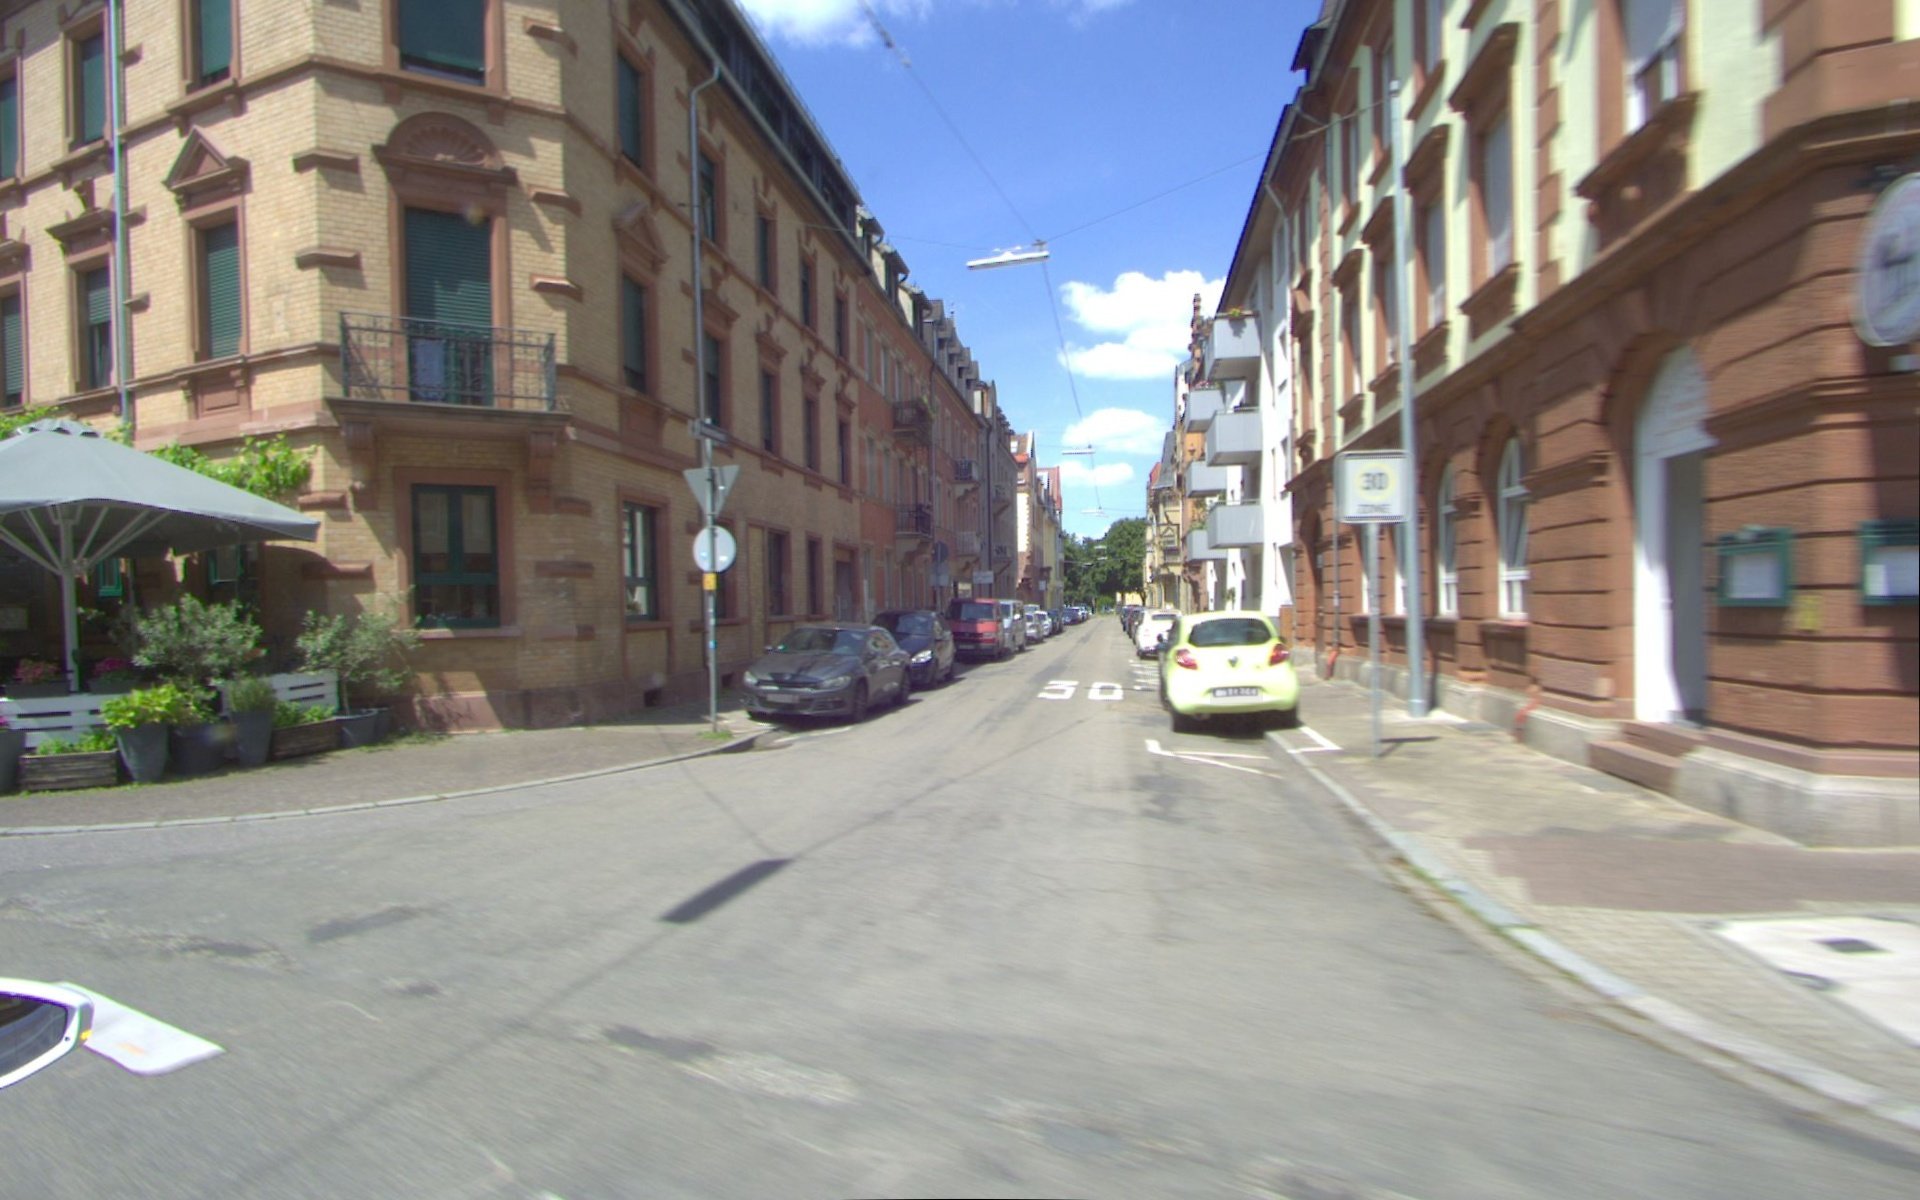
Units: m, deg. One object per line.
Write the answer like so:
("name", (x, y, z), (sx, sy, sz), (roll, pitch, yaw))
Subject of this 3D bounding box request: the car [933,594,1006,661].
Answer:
("car", (0.393, 0.863, 32.256), (1.982, 1.988, 4.523), (-1, -1, 5))

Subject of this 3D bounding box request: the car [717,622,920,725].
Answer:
("car", (-2.101, 1.077, 16.070), (1.881, 1.382, 3.996), (-1, -1, 14))

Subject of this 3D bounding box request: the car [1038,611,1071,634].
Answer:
("car", (6.679, 1.583, 70.418), (1.880, 1.556, 4.134), (-1, -1, 10))

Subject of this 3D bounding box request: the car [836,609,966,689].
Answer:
("car", (-1.161, 0.998, 21.834), (1.880, 1.556, 4.134), (-1, -1, 10))

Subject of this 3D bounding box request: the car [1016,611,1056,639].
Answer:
("car", (4.444, 1.402, 57.829), (1.880, 1.556, 4.134), (-1, -1, 10))

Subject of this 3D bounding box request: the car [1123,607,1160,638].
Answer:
("car", (9.598, 1.174, 52.697), (1.771, 1.498, 3.998), (-4, -1, 11))

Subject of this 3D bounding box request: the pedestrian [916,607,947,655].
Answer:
("pedestrian", (-0.977, 1.070, 34.726), (0.913, 1.642, 0.805), (-1, 0, 9))

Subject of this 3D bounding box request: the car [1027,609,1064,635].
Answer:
("car", (5.413, 1.378, 63.005), (1.880, 1.556, 4.134), (-1, -1, 10))

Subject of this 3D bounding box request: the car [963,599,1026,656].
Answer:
("car", (1.357, 0.992, 37.353), (1.982, 1.988, 4.523), (-1, -1, 6))

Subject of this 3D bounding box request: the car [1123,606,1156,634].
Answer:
("car", (10.512, 1.144, 58.416), (1.771, 1.498, 3.998), (-4, -1, 11))

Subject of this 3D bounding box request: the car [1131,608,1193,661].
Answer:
("car", (6.401, 1.082, 32.062), (1.698, 1.498, 3.999), (-3, -1, 9))

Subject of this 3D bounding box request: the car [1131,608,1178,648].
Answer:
("car", (8.213, 1.159, 42.222), (1.771, 1.498, 3.998), (-4, -1, 11))

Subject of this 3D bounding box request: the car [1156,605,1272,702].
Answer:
("car", (4.565, 0.917, 18.472), (1.771, 1.498, 3.998), (-4, -1, 11))

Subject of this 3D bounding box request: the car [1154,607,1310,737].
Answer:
("car", (3.699, 0.918, 14.203), (1.771, 1.498, 3.998), (-4, -1, 11))

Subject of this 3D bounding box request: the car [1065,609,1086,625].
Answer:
("car", (11.801, 1.710, 101.896), (1.880, 1.556, 4.134), (-1, -1, 10))

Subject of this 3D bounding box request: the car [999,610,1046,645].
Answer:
("car", (2.979, 1.256, 47.349), (1.880, 1.556, 4.135), (-1, -1, 8))

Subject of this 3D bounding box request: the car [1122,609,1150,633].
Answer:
("car", (12.128, 1.446, 68.851), (1.771, 1.498, 3.998), (-4, -1, 11))

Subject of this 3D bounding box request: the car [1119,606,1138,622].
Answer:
("car", (17.738, 1.446, 105.332), (1.771, 1.498, 3.998), (-4, -1, 11))

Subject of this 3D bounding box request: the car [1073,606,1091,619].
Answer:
("car", (14.559, 1.480, 119.252), (1.880, 1.556, 4.134), (-1, -1, 10))

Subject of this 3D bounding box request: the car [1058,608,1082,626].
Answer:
("car", (10.206, 1.551, 92.373), (1.880, 1.556, 4.134), (-1, -1, 10))
